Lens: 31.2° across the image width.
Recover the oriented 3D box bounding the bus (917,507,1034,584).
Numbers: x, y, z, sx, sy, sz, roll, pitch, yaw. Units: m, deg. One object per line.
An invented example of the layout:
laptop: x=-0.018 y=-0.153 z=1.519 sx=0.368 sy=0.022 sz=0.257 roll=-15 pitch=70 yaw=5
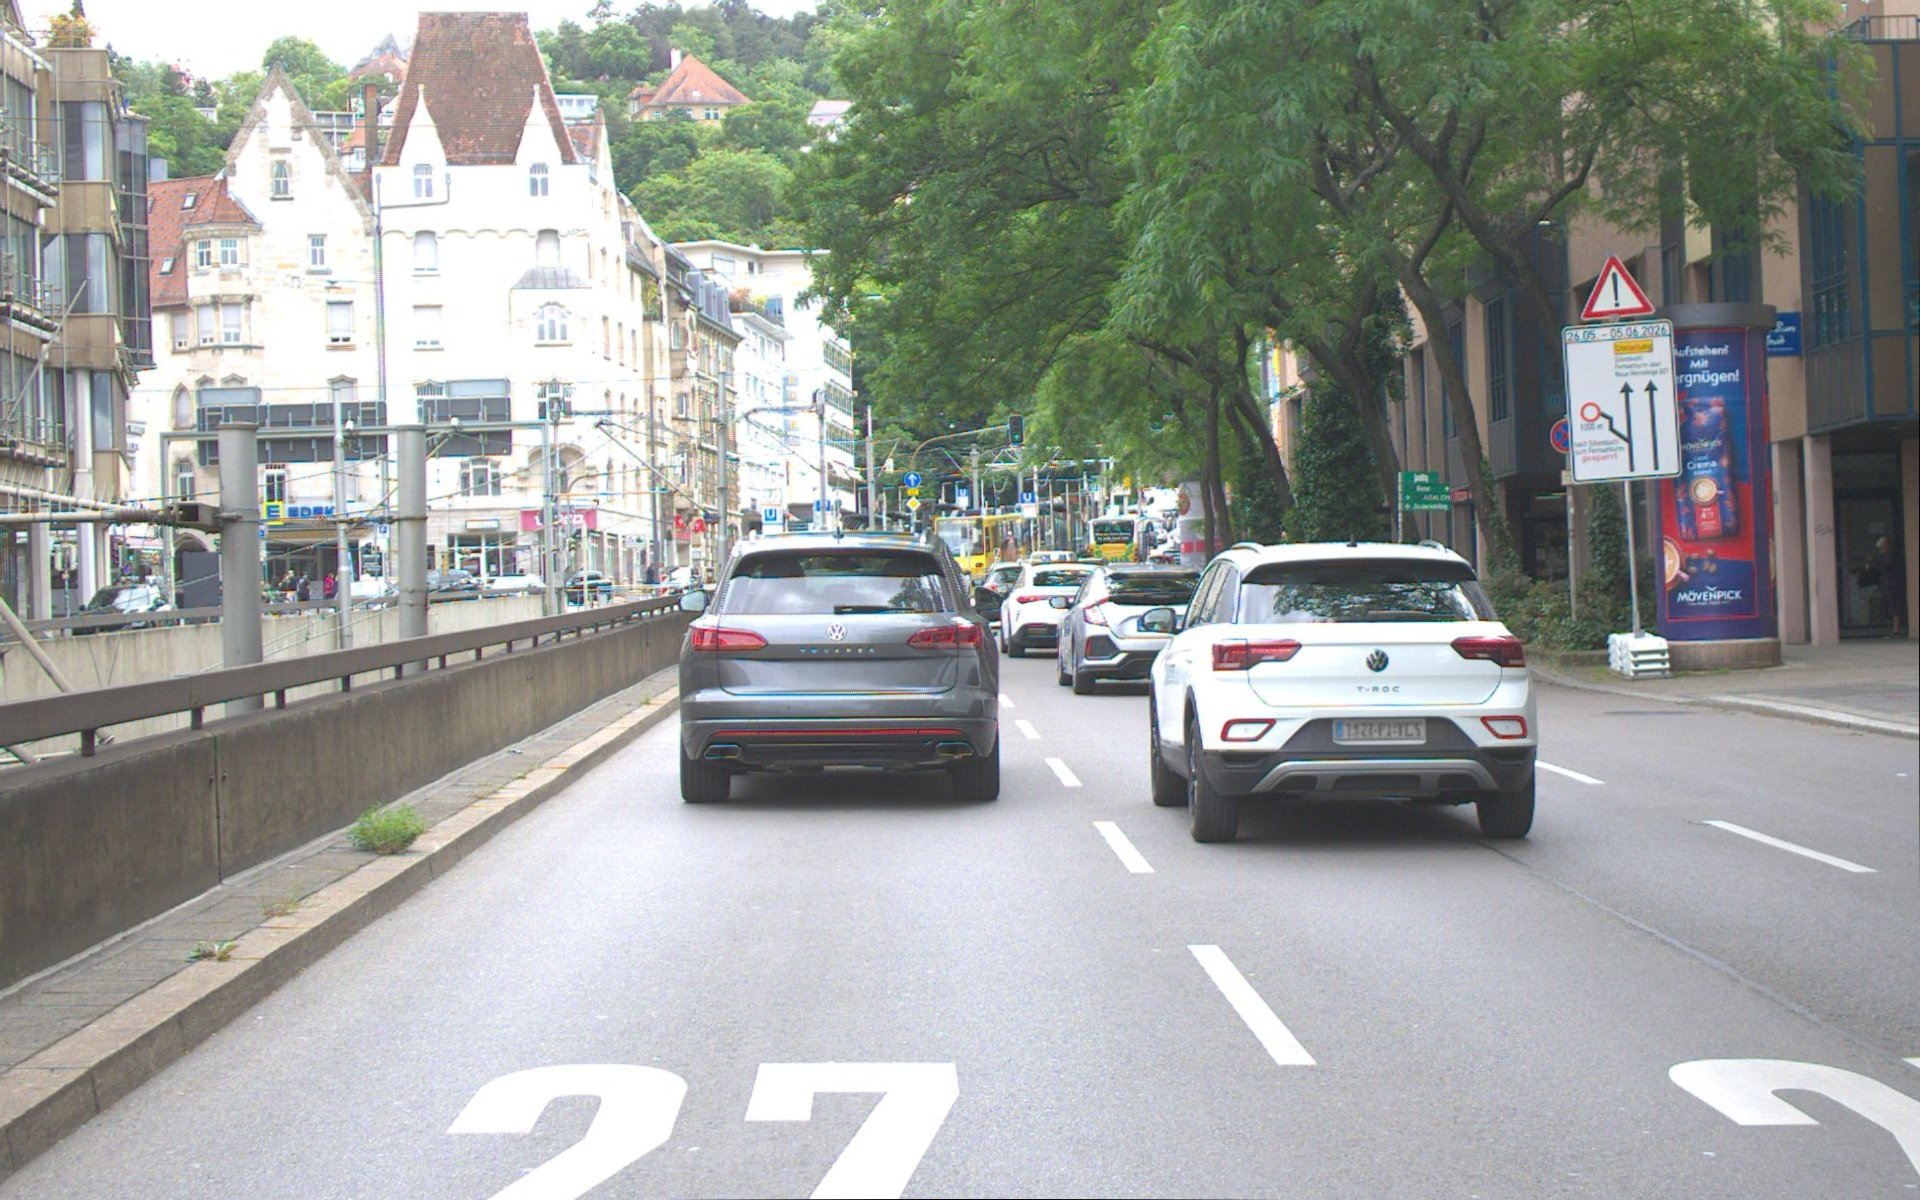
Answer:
bus: x=0.913 y=-2.735 z=171.525 sx=3.850 sy=3.520 sz=17.241 roll=-2 pitch=1 yaw=7

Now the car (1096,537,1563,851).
car: x=1.910 y=0.457 z=18.956 sx=1.797 sy=1.540 sz=3.936 roll=0 pitch=0 yaw=-5

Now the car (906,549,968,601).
car: x=-0.738 y=-0.801 z=109.573 sx=1.832 sy=1.561 sz=3.767 roll=-3 pitch=1 yaw=-1

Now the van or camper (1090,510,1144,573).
van or camper: x=8.280 y=-3.094 z=180.813 sx=2.628 sy=3.167 sz=5.802 roll=-2 pitch=1 yaw=4

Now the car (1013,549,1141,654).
car: x=1.822 y=-0.001 z=54.510 sx=1.832 sy=1.512 sz=3.767 roll=-3 pitch=1 yaw=0

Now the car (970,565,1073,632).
car: x=1.347 y=-0.044 z=76.955 sx=1.832 sy=1.358 sz=3.768 roll=-3 pitch=1 yaw=-6

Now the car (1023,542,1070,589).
car: x=3.677 y=-1.477 z=147.219 sx=1.832 sy=1.868 sz=4.870 roll=-3 pitch=1 yaw=0

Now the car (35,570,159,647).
car: x=-21.307 y=0.192 z=85.019 sx=1.993 sy=1.761 sz=4.281 roll=-2 pitch=1 yaw=-1

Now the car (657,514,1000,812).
car: x=-0.781 y=0.316 z=22.215 sx=1.970 sy=1.690 sz=4.225 roll=-1 pitch=2 yaw=0

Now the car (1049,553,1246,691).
car: x=2.044 y=0.274 z=38.495 sx=1.833 sy=1.427 sz=4.147 roll=-1 pitch=-1 yaw=-2
